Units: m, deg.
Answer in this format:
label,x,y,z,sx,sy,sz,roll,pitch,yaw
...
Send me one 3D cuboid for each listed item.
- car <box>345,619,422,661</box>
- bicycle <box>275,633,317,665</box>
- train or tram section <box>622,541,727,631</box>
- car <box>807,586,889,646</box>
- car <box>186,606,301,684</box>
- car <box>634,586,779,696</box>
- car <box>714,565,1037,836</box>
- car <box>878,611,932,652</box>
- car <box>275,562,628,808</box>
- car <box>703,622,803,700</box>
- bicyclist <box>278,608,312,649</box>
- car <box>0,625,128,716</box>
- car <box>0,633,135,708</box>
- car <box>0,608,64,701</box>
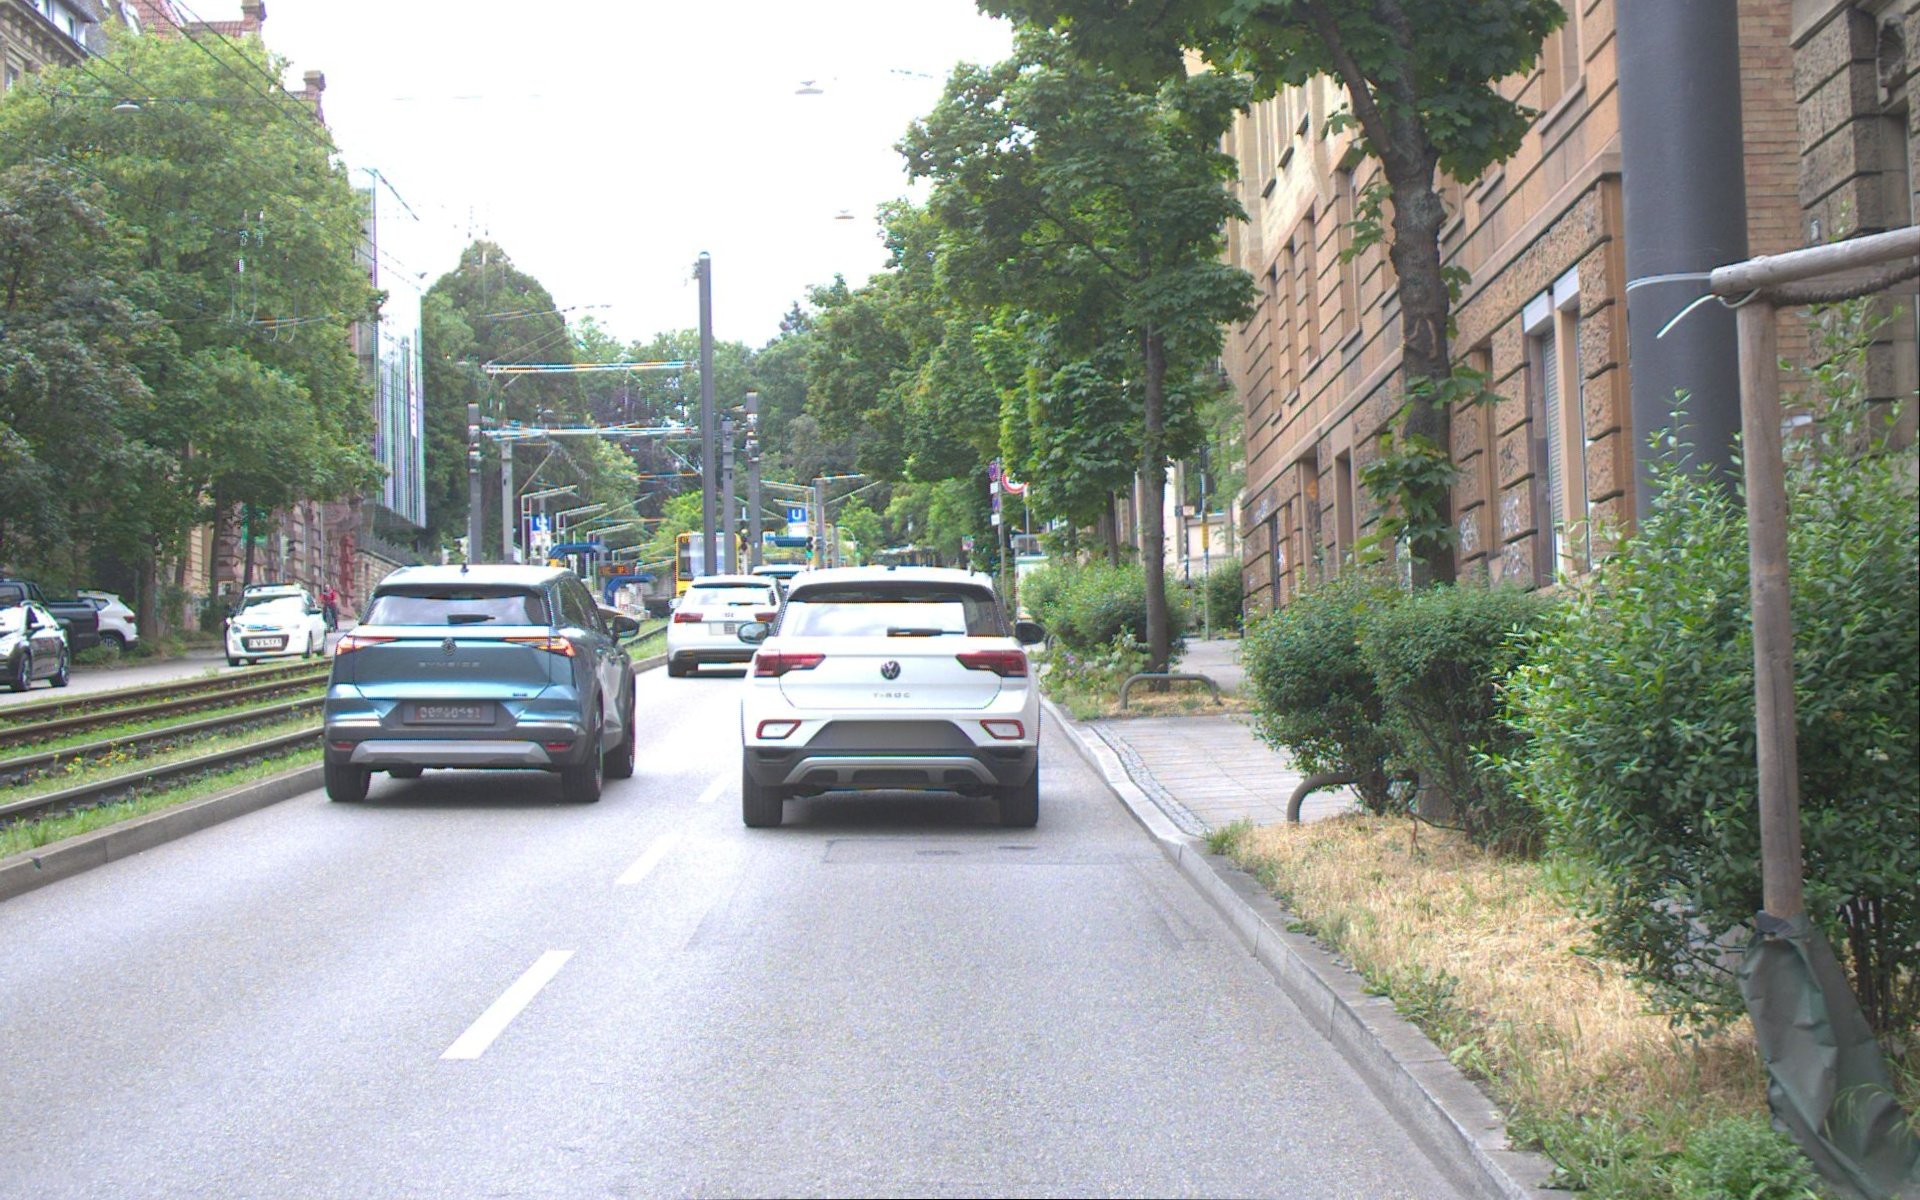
label,x,y,z,sx,sy,sz,roll,pitch,yaw
car,-20.209,1.397,120.629,1.993,1.398,4.000,-1,-1,0
bicycle,-23.330,1.709,120.823,0.938,1.096,2.703,-1,0,-1
train or tram section,-11.445,-0.479,139.007,2.996,3.338,13.438,-1,-1,0
car,-2.927,0.433,90.692,2.068,1.541,4.193,0,-1,0
car,-14.178,0.881,68.173,1.588,1.430,3.413,-3,0,-1
car,-3.670,0.600,50.403,1.835,1.541,4.193,0,-1,0
car,-0.539,0.597,21.699,1.835,1.541,4.193,0,-1,-2
car,-2.112,1.230,133.959,2.068,1.541,4.193,0,-1,0
car,-3.401,0.560,23.738,1.835,1.541,4.193,0,-1,0
car,-4.222,1.240,70.678,1.835,1.541,4.193,0,-1,0
bicyclist,-23.372,0.990,120.874,0.938,1.420,1.188,-1,-1,-1
car,-19.275,1.413,69.225,1.935,1.791,4.595,-1,-1,43
car,-20.389,1.515,74.251,4.592,1.612,1.936,1,-1,-34
car,-15.629,0.913,54.138,1.865,1.431,4.494,-4,-1,-1
